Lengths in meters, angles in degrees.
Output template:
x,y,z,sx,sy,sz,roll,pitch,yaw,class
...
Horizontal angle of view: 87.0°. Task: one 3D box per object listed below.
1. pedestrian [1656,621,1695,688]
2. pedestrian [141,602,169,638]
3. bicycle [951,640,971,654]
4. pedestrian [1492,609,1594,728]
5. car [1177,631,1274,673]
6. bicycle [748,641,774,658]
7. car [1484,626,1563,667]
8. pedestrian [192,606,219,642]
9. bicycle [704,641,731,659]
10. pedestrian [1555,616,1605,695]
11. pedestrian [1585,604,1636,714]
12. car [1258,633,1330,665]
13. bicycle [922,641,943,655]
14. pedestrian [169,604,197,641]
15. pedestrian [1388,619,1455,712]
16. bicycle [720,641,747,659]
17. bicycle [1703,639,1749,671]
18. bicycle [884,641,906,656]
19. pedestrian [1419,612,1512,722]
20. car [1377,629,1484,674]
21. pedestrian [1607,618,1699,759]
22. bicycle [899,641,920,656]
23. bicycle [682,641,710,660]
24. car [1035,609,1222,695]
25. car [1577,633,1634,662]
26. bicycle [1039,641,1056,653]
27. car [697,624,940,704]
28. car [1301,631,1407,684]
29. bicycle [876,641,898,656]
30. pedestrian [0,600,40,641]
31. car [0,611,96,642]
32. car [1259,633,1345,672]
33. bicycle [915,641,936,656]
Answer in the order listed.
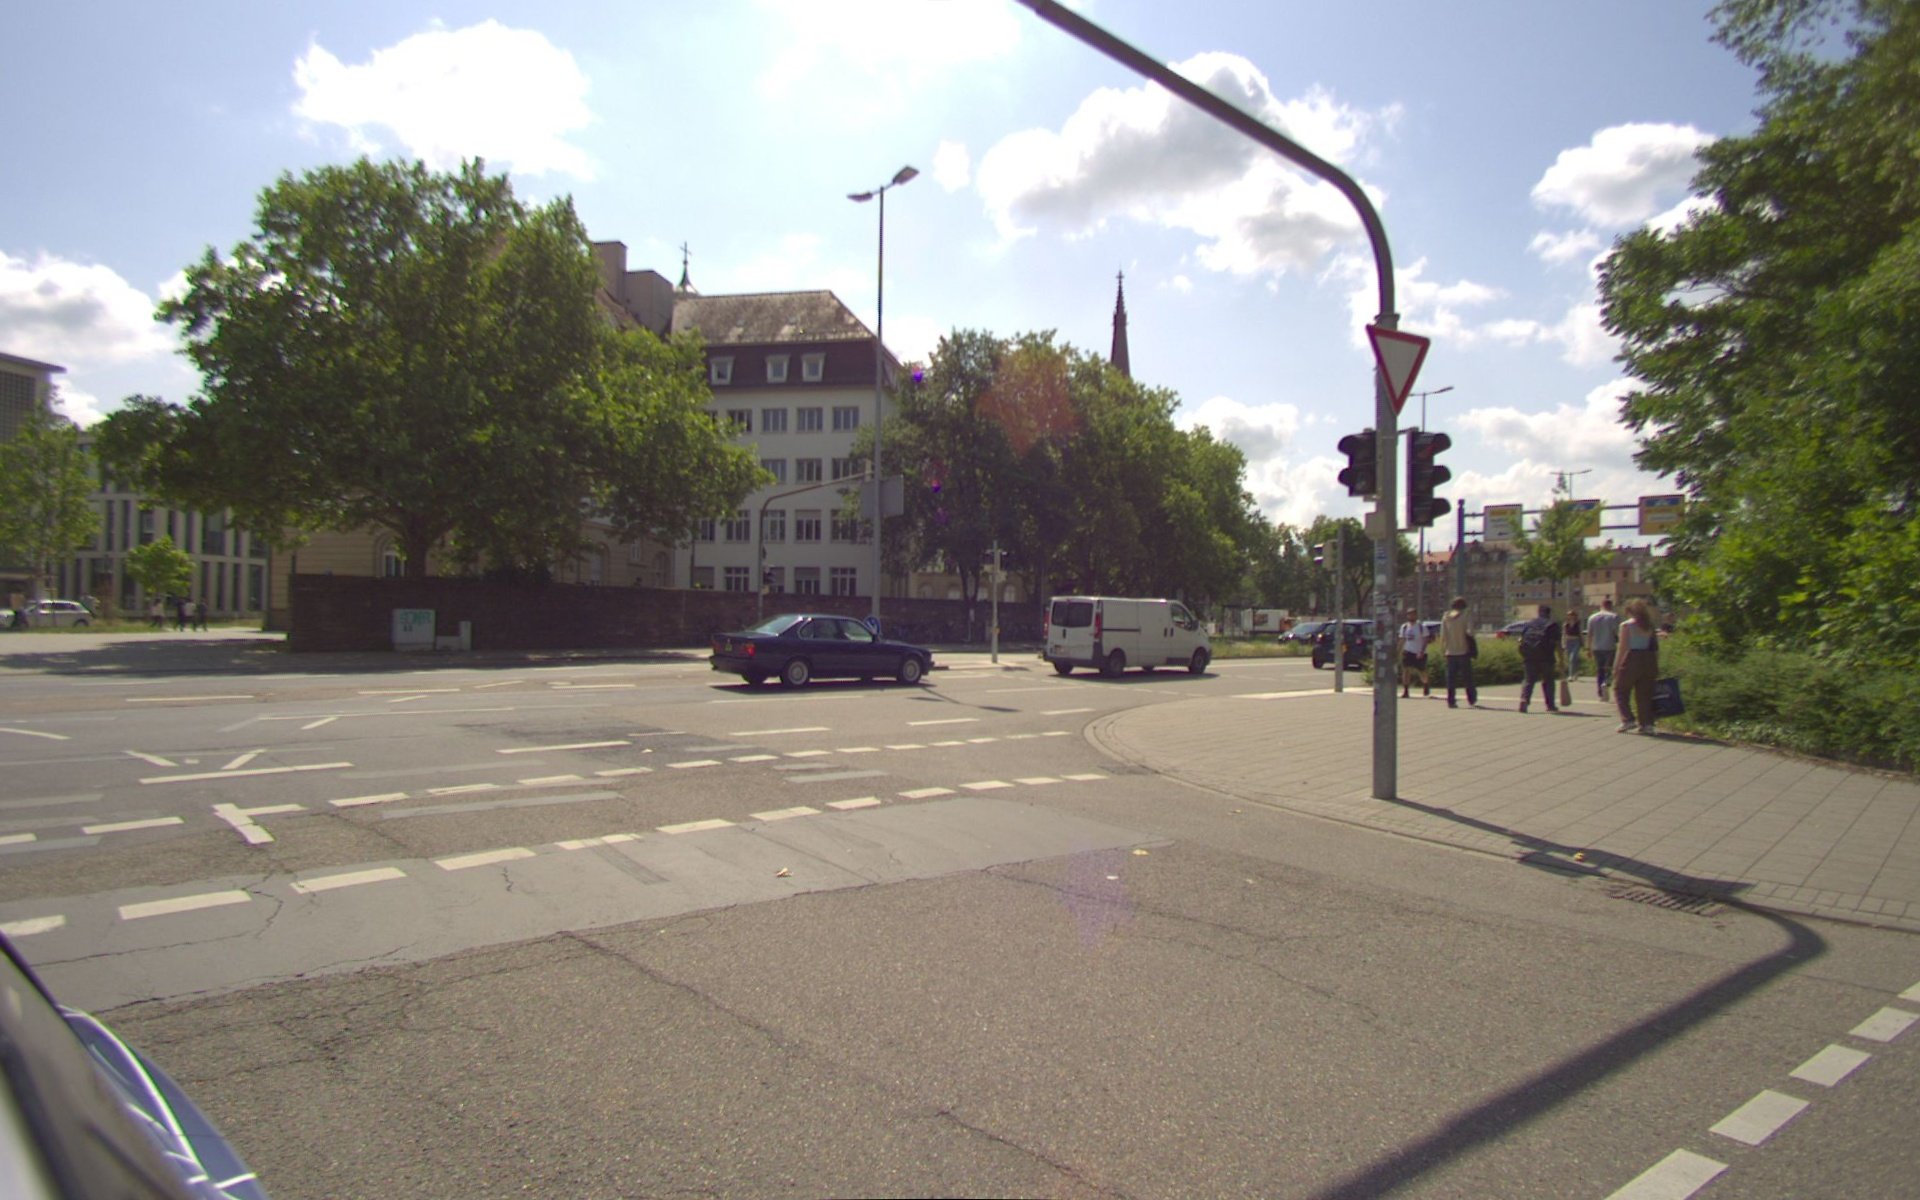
x,y,z,sx,sy,sz,roll,pitch,yaw,class
21.750,1.647,30.772,0.841,1.984,0.848,-1,-2,45,pedestrian
-39.987,0.995,50.290,0.800,1.803,0.846,1,-2,-17,pedestrian
0.053,2.512,54.101,0.995,0.687,0.408,2,-1,6,bicycle
8.779,1.010,15.238,1.162,1.717,0.800,1,-3,-29,pedestrian
10.086,1.964,38.382,3.746,1.483,1.756,3,-2,-41,car
-8.410,2.090,42.722,0.999,0.687,0.406,2,-1,19,bicycle
24.668,1.992,44.255,4.327,1.613,1.835,2,-1,-44,car
-37.833,1.199,50.761,0.851,1.803,0.846,1,-2,-24,pedestrian
-9.824,2.015,40.978,0.999,0.687,0.406,2,-1,19,bicycle
15.218,1.336,24.823,0.841,1.882,1.004,-1,-2,45,pedestrian
11.185,0.986,17.398,0.672,1.834,0.694,0,-1,40,pedestrian
16.772,2.446,50.802,3.746,1.483,1.756,3,-2,-41,car
-1.419,2.453,52.059,0.995,0.687,0.408,2,-1,6,bicycle
-38.640,1.135,50.315,0.877,1.803,0.846,1,-2,-22,pedestrian
8.808,1.241,19.315,0.917,1.714,0.855,3,-4,-43,pedestrian
-9.344,2.042,41.714,0.999,0.687,0.406,2,-1,19,bicycle
52.102,3.730,68.856,2.001,2.029,3.942,1,-1,44,bicycle
-3.170,2.371,49.578,0.995,0.687,0.408,2,-1,6,bicycle
8.216,1.074,16.459,1.162,1.717,0.800,1,-3,-29,pedestrian
17.910,1.909,38.395,4.813,1.541,2.026,2,0,-43,car
8.506,1.048,12.467,0.854,1.639,1.009,-2,-1,32,pedestrian
-2.499,2.405,50.309,0.995,0.687,0.408,2,-1,6,bicycle
-10.452,2.004,40.009,0.999,0.687,0.406,2,-1,19,bicycle
4.442,1.291,26.112,5.114,1.970,2.015,2,-1,-42,car
31.827,2.298,49.851,3.464,1.335,1.618,2,-2,-44,car
5.347,2.838,61.616,0.995,0.687,0.408,2,-1,6,bicycle
-2.699,1.234,20.029,4.541,1.397,1.700,3,-2,-41,car
12.247,1.752,31.377,3.462,1.496,1.619,2,-2,-41,car
-3.542,2.351,49.087,0.995,0.687,0.408,2,-1,6,bicycle
-39.242,0.851,42.053,1.278,1.663,1.330,2,-2,-34,pedestrian
-42.751,1.192,46.416,1.979,1.316,4.477,2,-1,12,car
14.194,2.161,41.923,3.746,1.483,1.756,3,-2,-41,car
-1.731,2.447,51.335,0.995,0.687,0.408,2,-1,6,bicycle
